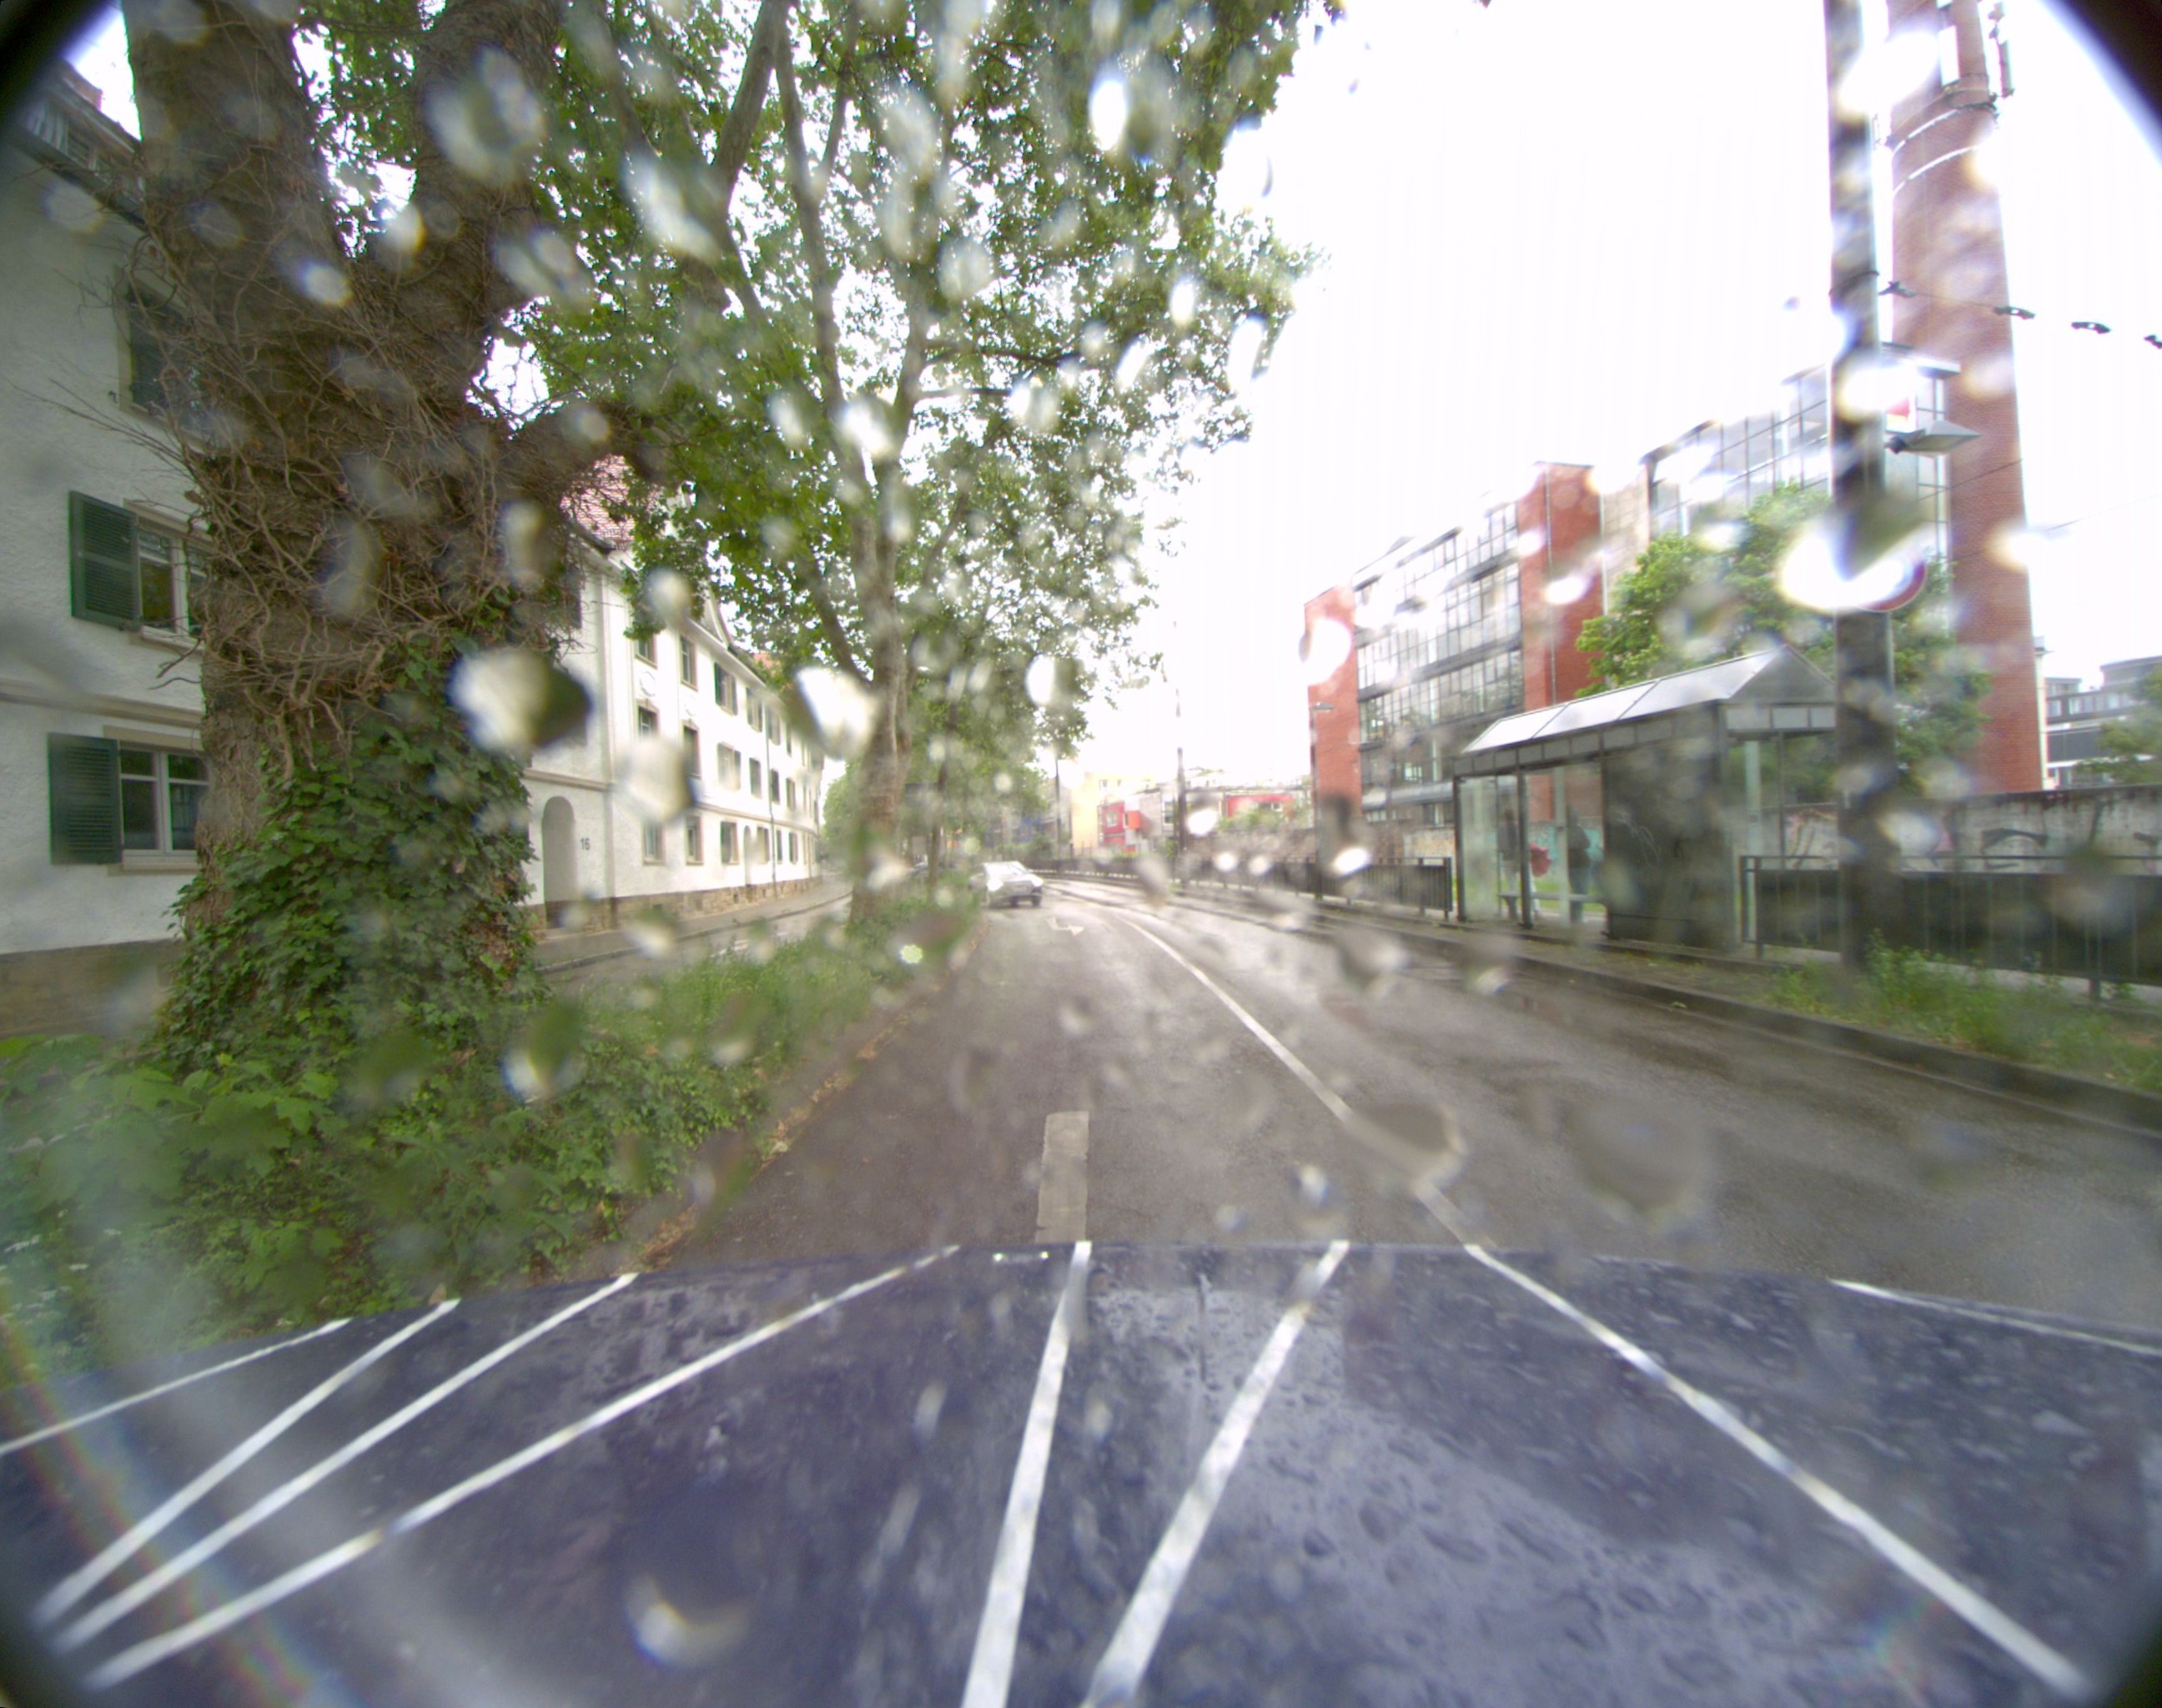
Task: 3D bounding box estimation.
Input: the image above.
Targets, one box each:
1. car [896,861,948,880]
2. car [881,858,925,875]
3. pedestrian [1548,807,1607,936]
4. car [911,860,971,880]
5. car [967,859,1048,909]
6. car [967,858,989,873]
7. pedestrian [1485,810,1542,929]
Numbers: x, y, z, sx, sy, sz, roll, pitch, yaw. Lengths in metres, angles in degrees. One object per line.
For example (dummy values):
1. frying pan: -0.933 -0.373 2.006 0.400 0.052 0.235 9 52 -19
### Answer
1. car: -14.646 1.515 70.235 4.328 1.603 1.749 -1 0 6
2. car: -22.215 1.574 94.738 4.884 2.002 2.002 -1 0 11
3. pedestrian: 6.904 0.230 10.571 0.584 1.721 0.566 -1 1 -43
4. car: -11.080 1.268 60.064 4.224 1.532 1.932 -1 0 11
5. car: -2.722 1.005 27.327 1.854 1.586 4.209 -2 0 -20
6. car: -11.856 1.302 87.114 1.694 1.713 3.685 -1 0 -20
7. pedestrian: 6.456 0.219 11.344 0.584 1.721 0.566 -1 1 -41
